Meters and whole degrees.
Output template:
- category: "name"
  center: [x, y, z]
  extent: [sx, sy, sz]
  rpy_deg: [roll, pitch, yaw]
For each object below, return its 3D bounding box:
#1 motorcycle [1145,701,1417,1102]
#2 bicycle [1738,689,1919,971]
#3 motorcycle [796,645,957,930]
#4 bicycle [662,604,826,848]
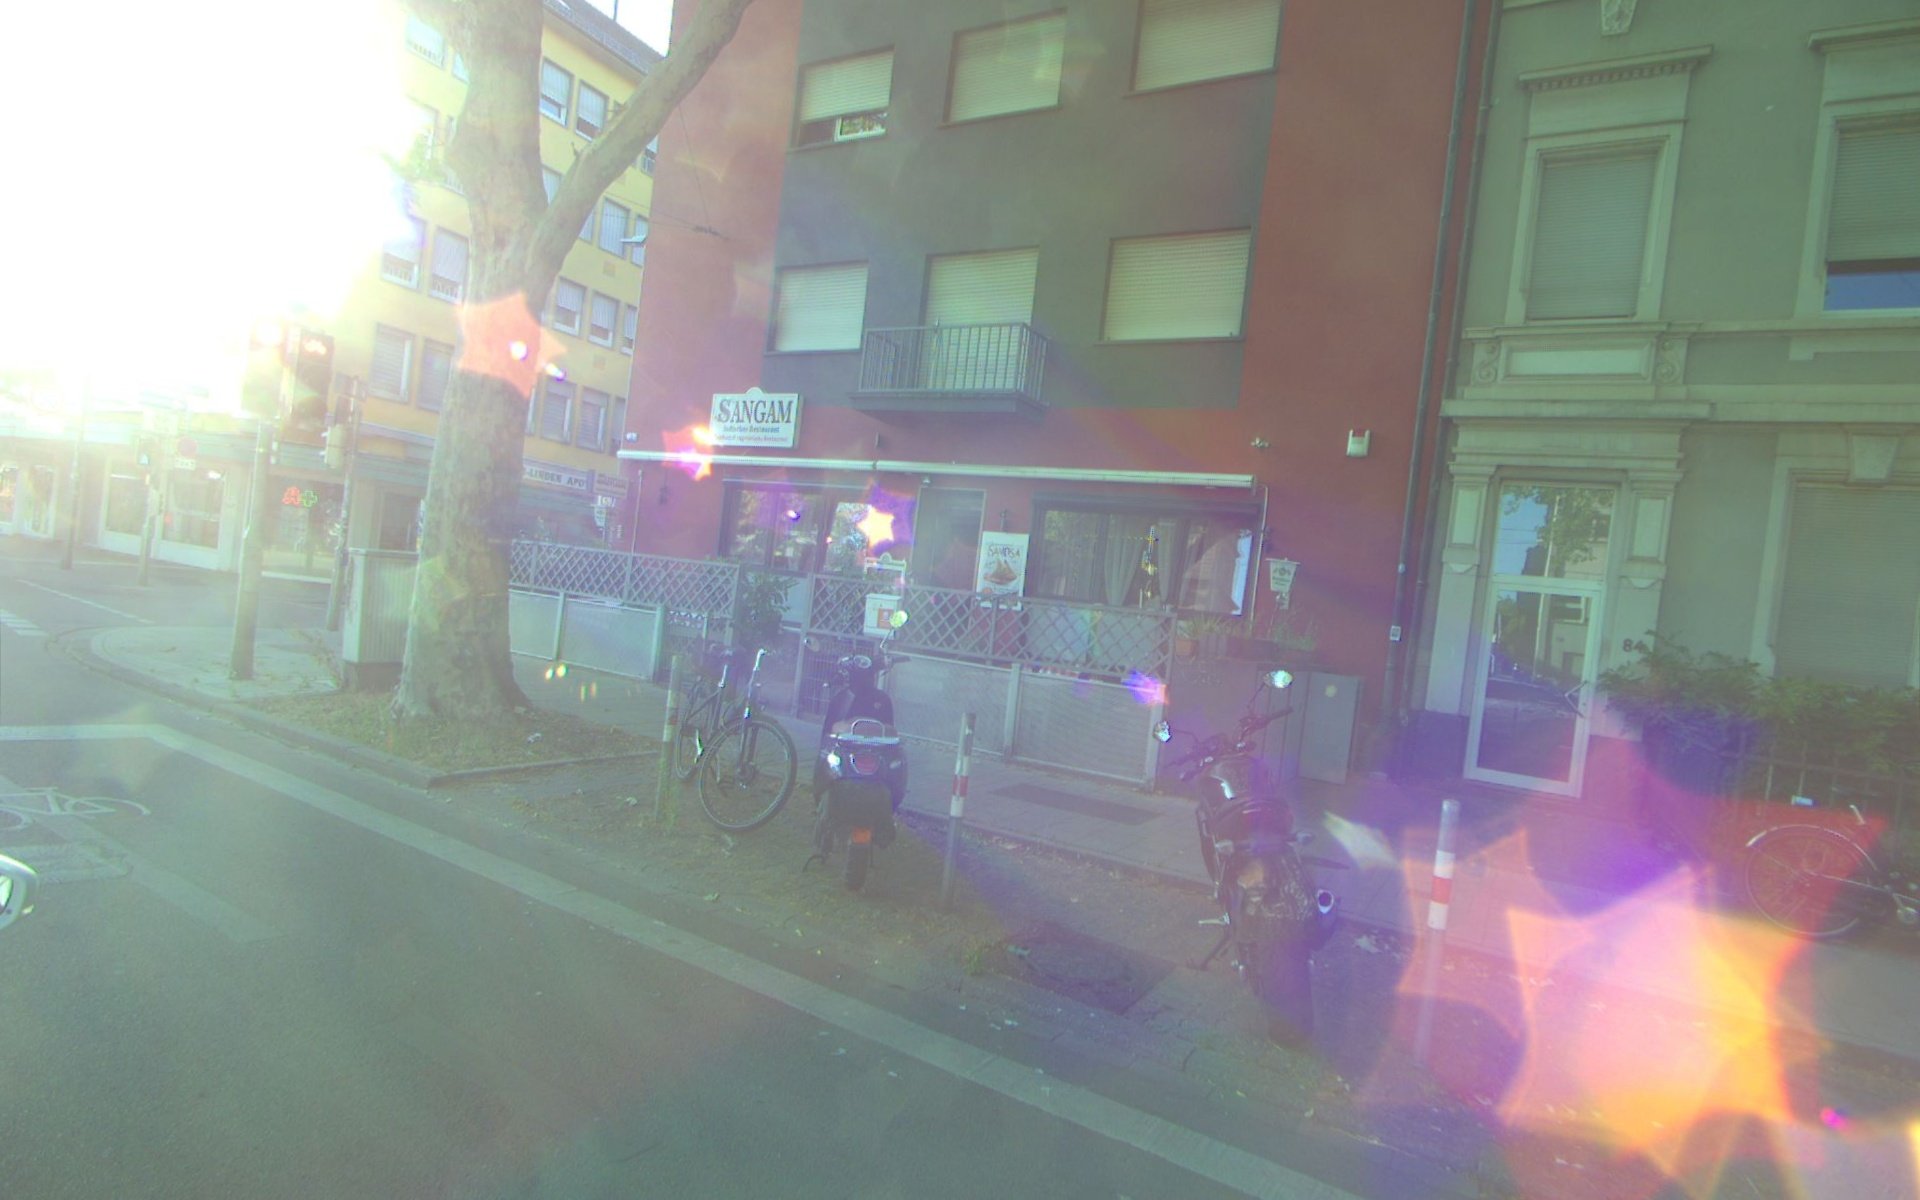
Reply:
- category: "motorcycle"
  center: [1.314, 1.158, 4.615]
  extent: [0.752, 1.077, 2.212]
  rpy_deg: [7, 2, 9]
- category: "bicycle"
  center: [5.862, 1.378, 5.502]
  extent: [2.356, 1.443, 0.608]
  rpy_deg: [6, -1, 32]
- category: "motorcycle"
  center: [-0.546, 0.922, 5.650]
  extent: [0.591, 1.166, 1.994]
  rpy_deg: [6, 0, -10]
- category: "bicycle"
  center: [-1.496, 0.749, 6.676]
  extent: [0.686, 1.219, 1.837]
  rpy_deg: [8, 2, -20]
